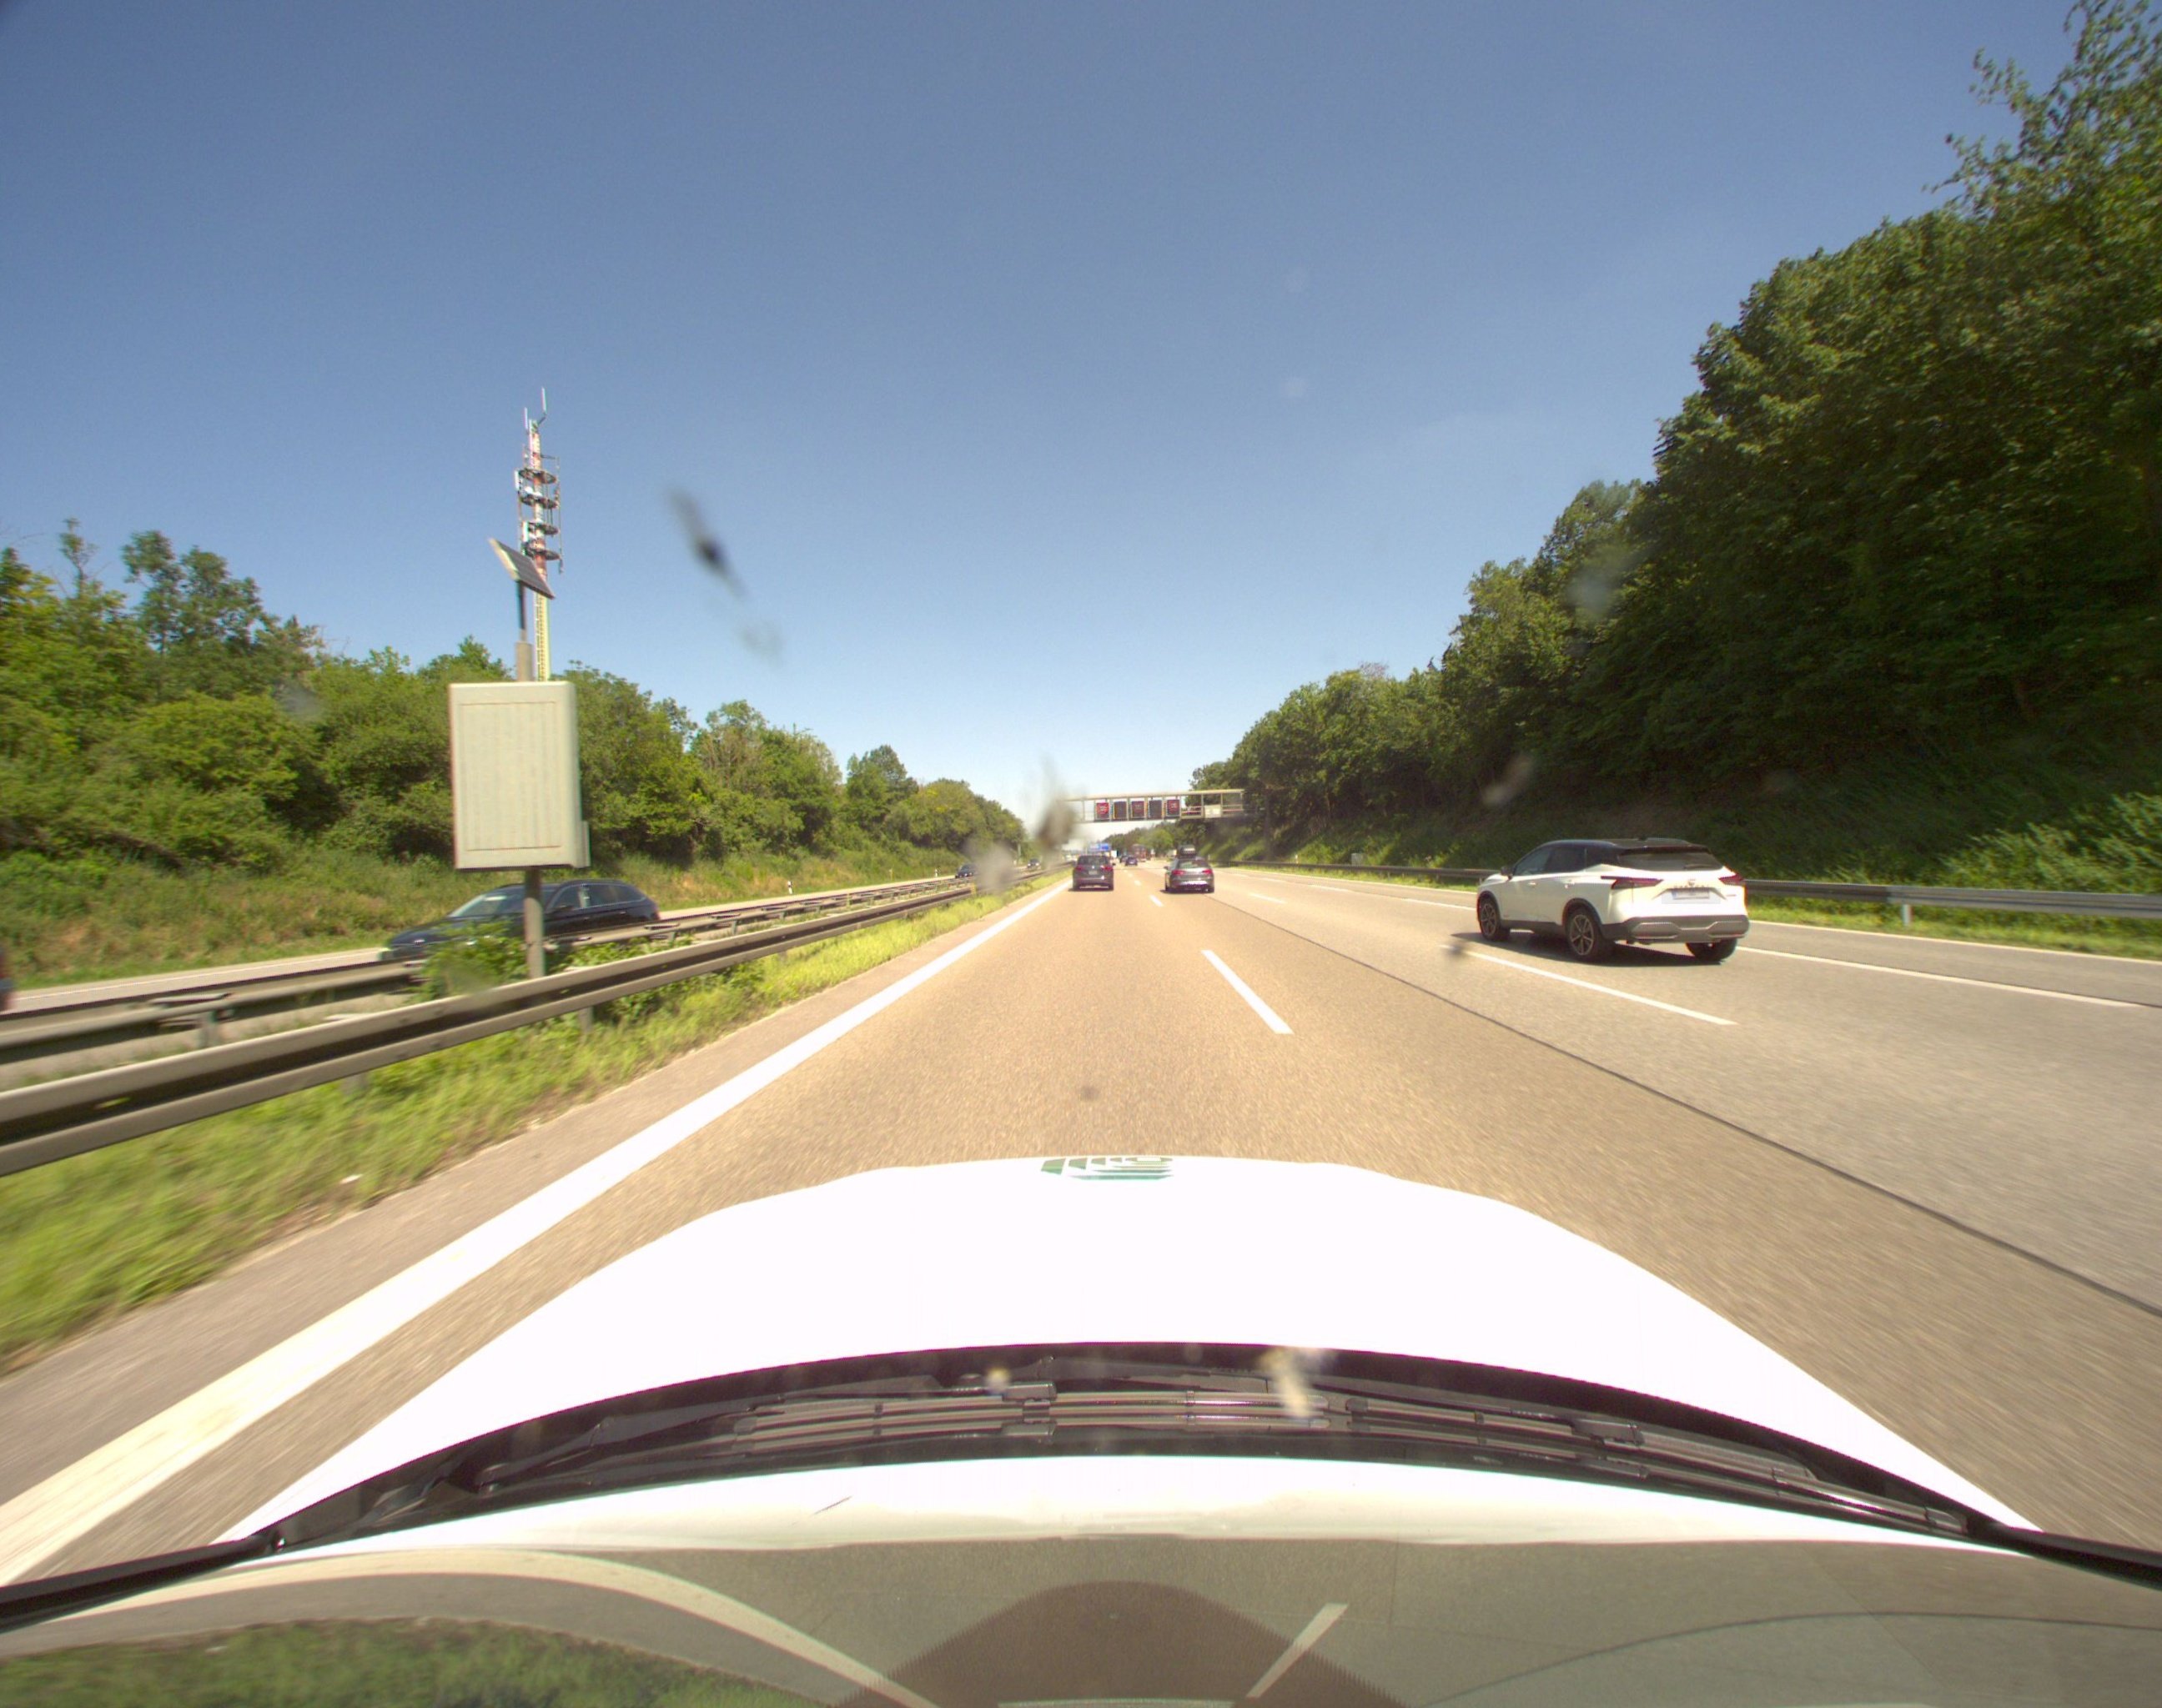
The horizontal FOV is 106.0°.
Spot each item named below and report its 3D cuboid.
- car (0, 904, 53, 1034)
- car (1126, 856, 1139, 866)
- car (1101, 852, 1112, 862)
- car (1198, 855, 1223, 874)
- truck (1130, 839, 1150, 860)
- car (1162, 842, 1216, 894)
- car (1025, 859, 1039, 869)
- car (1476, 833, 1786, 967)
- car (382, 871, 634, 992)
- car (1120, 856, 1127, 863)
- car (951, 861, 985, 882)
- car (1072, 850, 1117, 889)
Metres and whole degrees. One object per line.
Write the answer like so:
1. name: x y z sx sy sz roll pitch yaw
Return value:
1. car: -13.555 1.399 8.247 1.668 1.496 3.546 -3 0 2
2. car: 7.583 0.980 119.892 1.757 1.381 4.262 -1 0 4
3. car: 4.919 0.545 156.455 1.986 2.013 4.002 -1 0 2
4. car: 11.160 0.848 70.295 1.757 1.568 4.262 -1 0 4
5. truck: 13.534 -0.971 186.948 3.767 4.422 14.052 -1 0 1
6. car: 4.329 0.516 33.137 1.658 1.876 4.830 -3 0 2
7. car: -6.780 1.372 113.004 1.474 1.210 3.459 -3 0 2
8. car: 7.484 0.542 11.660 1.836 1.568 4.038 -1 0 2
9. car: -8.850 1.106 12.957 1.428 1.528 3.459 -3 0 2
10. car: 8.941 1.091 171.920 1.466 1.398 3.411 1 0 1
11. car: -8.348 1.265 60.498 1.707 1.398 4.151 -3 0 2
12. car: 0.667 0.661 36.750 1.791 1.669 4.262 -1 0 4
